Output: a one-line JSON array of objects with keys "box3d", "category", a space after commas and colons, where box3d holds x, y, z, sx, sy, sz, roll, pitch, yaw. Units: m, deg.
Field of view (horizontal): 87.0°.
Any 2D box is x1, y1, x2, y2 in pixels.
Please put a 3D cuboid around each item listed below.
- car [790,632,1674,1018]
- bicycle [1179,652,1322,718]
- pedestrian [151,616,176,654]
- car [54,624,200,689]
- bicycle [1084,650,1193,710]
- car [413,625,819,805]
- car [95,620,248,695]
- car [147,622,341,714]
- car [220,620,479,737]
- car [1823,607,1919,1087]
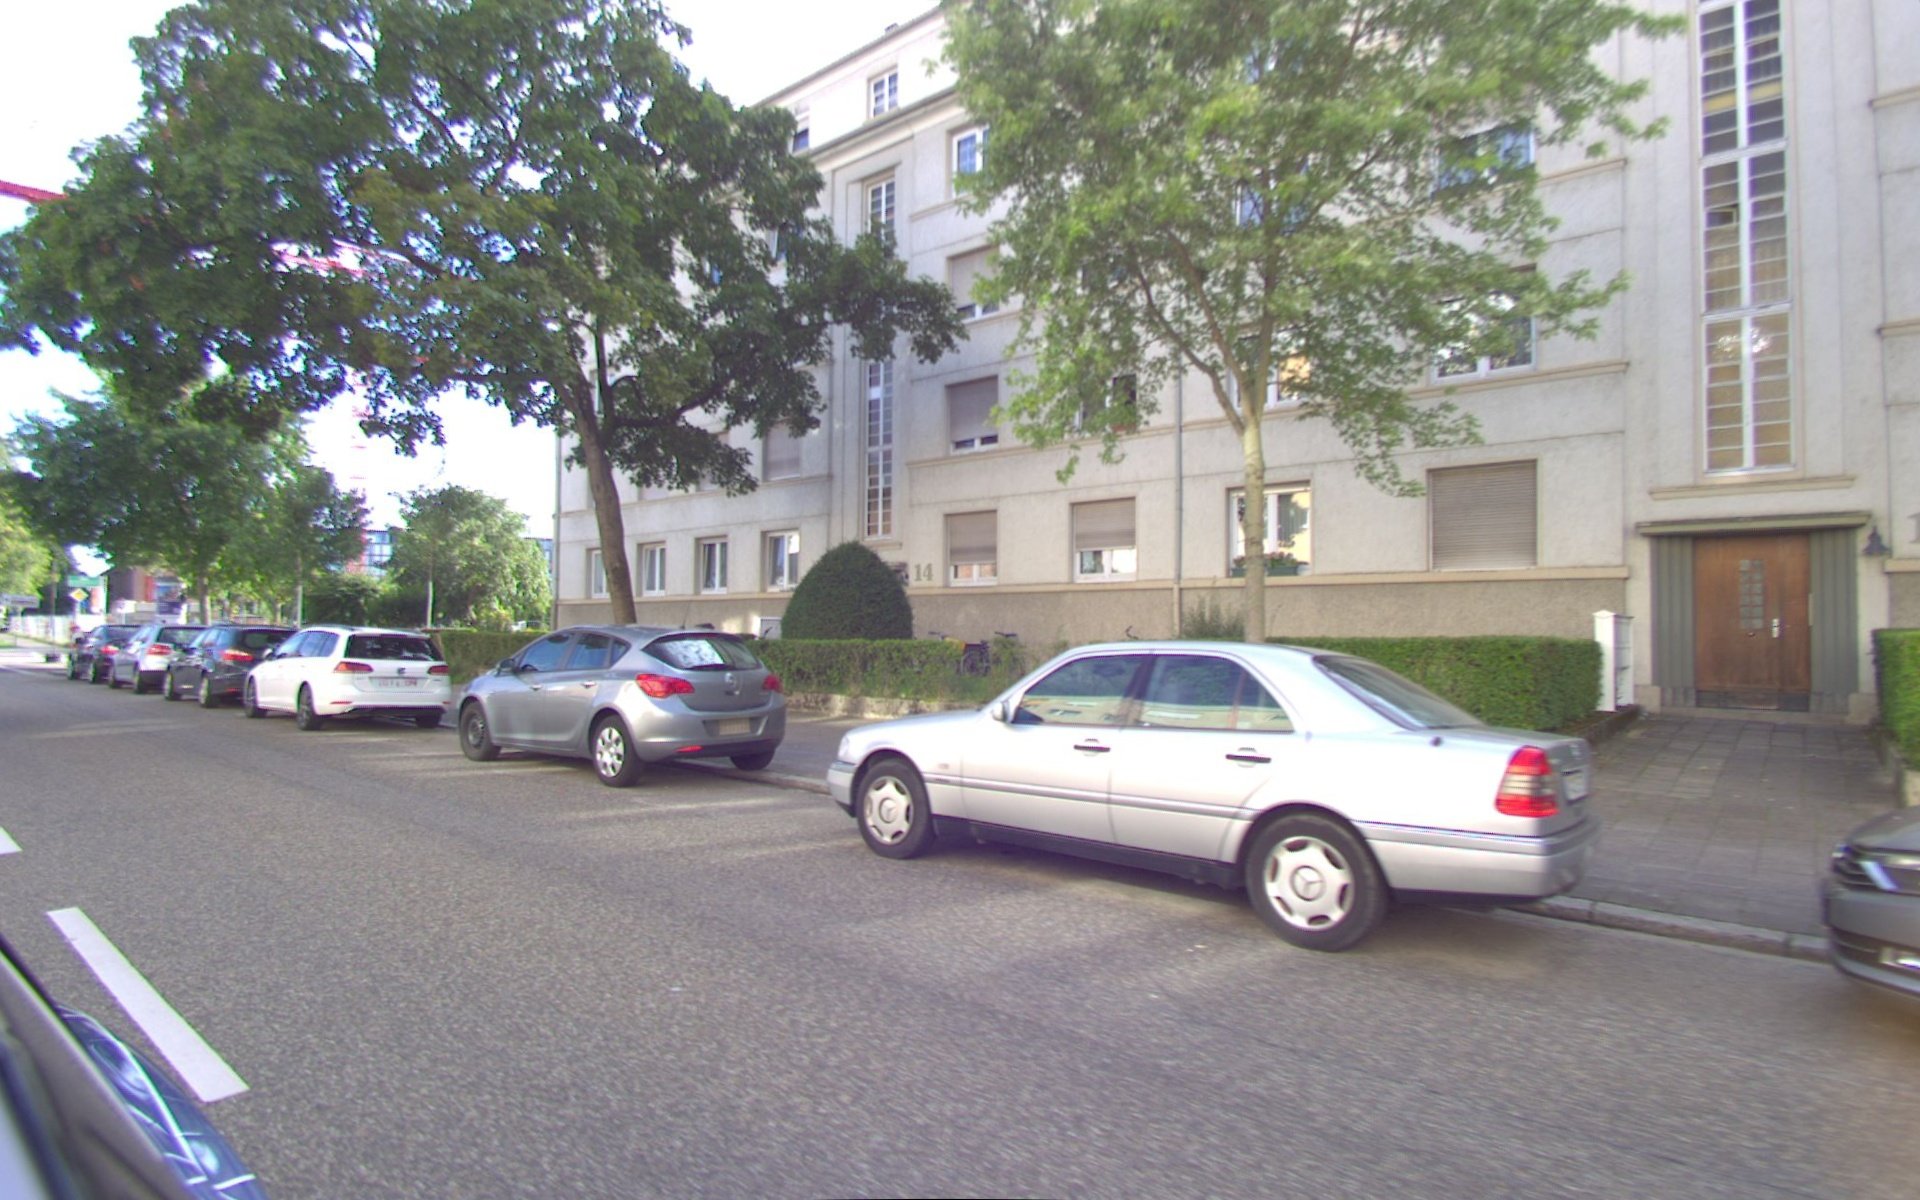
[{"box3d": [1.221, 0.945, 5.893, 4.662, 1.404, 1.720, -2, -6, 40], "category": "car"}, {"box3d": [5.151, 1.480, 18.084, 2.403, 1.068, 0.627, -1, -2, 40], "category": "bicycle"}, {"box3d": [-37.960, 1.658, 48.227, 0.775, 1.782, 0.734, -2, -4, 39], "category": "pedestrian"}, {"box3d": [-21.167, 1.435, 25.657, 4.415, 1.497, 1.908, -2, -5, 39], "category": "car"}, {"box3d": [3.424, 1.523, 19.557, 2.022, 1.068, 0.627, -1, -2, 40], "category": "bicycle"}, {"box3d": [-3.769, 1.064, 10.662, 4.679, 1.497, 1.837, -2, -4, 39], "category": "car"}, {"box3d": [-17.476, 1.261, 22.360, 4.366, 1.497, 1.801, -2, -5, 41], "category": "car"}, {"box3d": [-13.344, 1.201, 18.753, 4.681, 1.497, 1.836, -2, -4, 41], "category": "car"}, {"box3d": [-9.285, 1.151, 15.215, 4.795, 1.497, 1.836, -2, -7, 41], "category": "car"}, {"box3d": [5.333, 0.792, 2.406, 4.941, 1.497, 1.836, -2, -6, 41], "category": "car"}]
